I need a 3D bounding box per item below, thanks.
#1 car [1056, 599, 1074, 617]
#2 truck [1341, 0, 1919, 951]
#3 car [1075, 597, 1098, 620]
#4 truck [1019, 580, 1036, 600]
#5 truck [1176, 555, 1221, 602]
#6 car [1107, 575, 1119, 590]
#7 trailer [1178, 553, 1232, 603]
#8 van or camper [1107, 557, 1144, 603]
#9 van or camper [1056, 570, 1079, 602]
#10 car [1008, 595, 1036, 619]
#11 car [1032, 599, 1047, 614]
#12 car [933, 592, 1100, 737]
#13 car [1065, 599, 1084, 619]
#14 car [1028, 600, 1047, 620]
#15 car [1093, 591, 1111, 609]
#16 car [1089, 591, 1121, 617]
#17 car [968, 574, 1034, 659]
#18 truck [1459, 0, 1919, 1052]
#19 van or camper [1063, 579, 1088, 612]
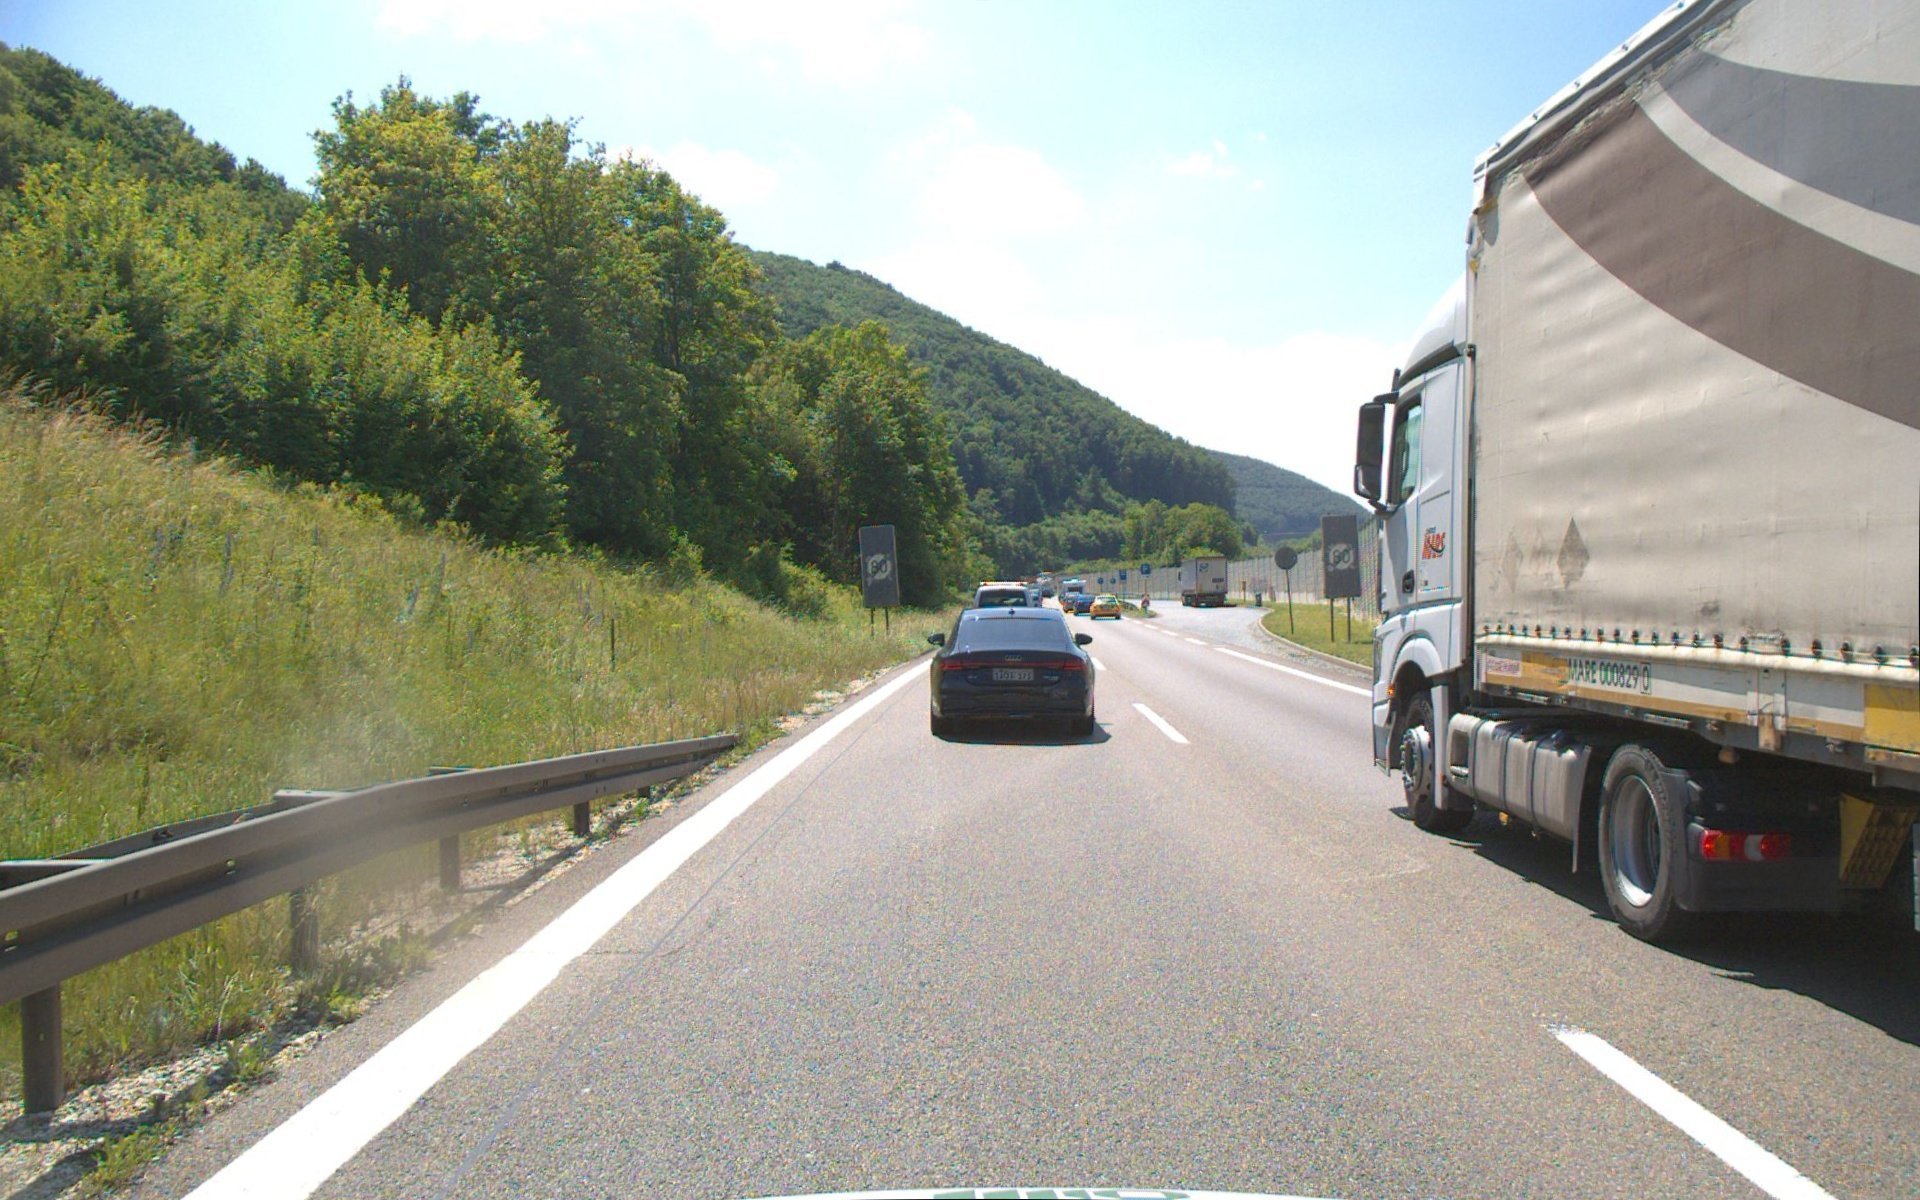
[{"bbox_3d":[12.232,0.928,193.299,1.952,2.049,4.001,1,-1,2],"label":"car"},{"bbox_3d":[4.347,-0.558,9.937,2.664,4.139,5.752,0,-1,-1],"label":"truck"},{"bbox_3d":[8.943,0.609,116.977,1.498,1.552,3.598,1,-1,3],"label":"car"},{"bbox_3d":[9.278,-1.343,227.328,2.021,2.651,5.617,1,0,5],"label":"truck"},{"bbox_3d":[20.638,-1.861,143.248,3.340,3.968,5.389,-1,0,2],"label":"truck"},{"bbox_3d":[21.016,-2.378,227.191,1.543,2.049,3.429,-1,0,3],"label":"car"},{"bbox_3d":[20.365,-1.818,138.150,3.340,3.968,11.155,-1,0,3],"label":"trailer"},{"bbox_3d":[14.764,-1.745,147.768,2.737,3.909,6.167,1,-1,1],"label":"van or camper"},{"bbox_3d":[13.886,-1.738,214.053,2.737,3.975,6.167,1,-1,1],"label":"van or camper"},{"bbox_3d":[3.550,0.393,94.753,1.490,1.317,3.514,2,0,1],"label":"car"},{"bbox_3d":[8.639,0.677,179.491,1.489,1.580,3.516,2,0,3],"label":"car"},{"bbox_3d":[0.671,0.679,19.330,1.774,1.541,3.515,0,0,2],"label":"car"},{"bbox_3d":[9.478,0.758,136.856,1.498,1.552,3.598,1,-1,3],"label":"car"},{"bbox_3d":[6.572,0.850,140.307,1.489,1.580,3.516,2,0,4],"label":"car"},{"bbox_3d":[16.564,0.037,193.034,1.952,2.049,4.001,-1,0,2],"label":"car"},{"bbox_3d":[8.960,0.255,102.506,1.839,1.525,4.002,-1,0,3],"label":"car"},{"bbox_3d":[0.996,0.410,41.536,1.490,2.003,3.514,2,0,0],"label":"car"},{"bbox_3d":[4.496,-0.626,3.132,2.671,4.139,13.737,0,-1,-1],"label":"truck"},{"bbox_3d":[11.531,-0.434,165.434,2.378,3.210,5.205,1,-1,3],"label":"van or camper"}]
